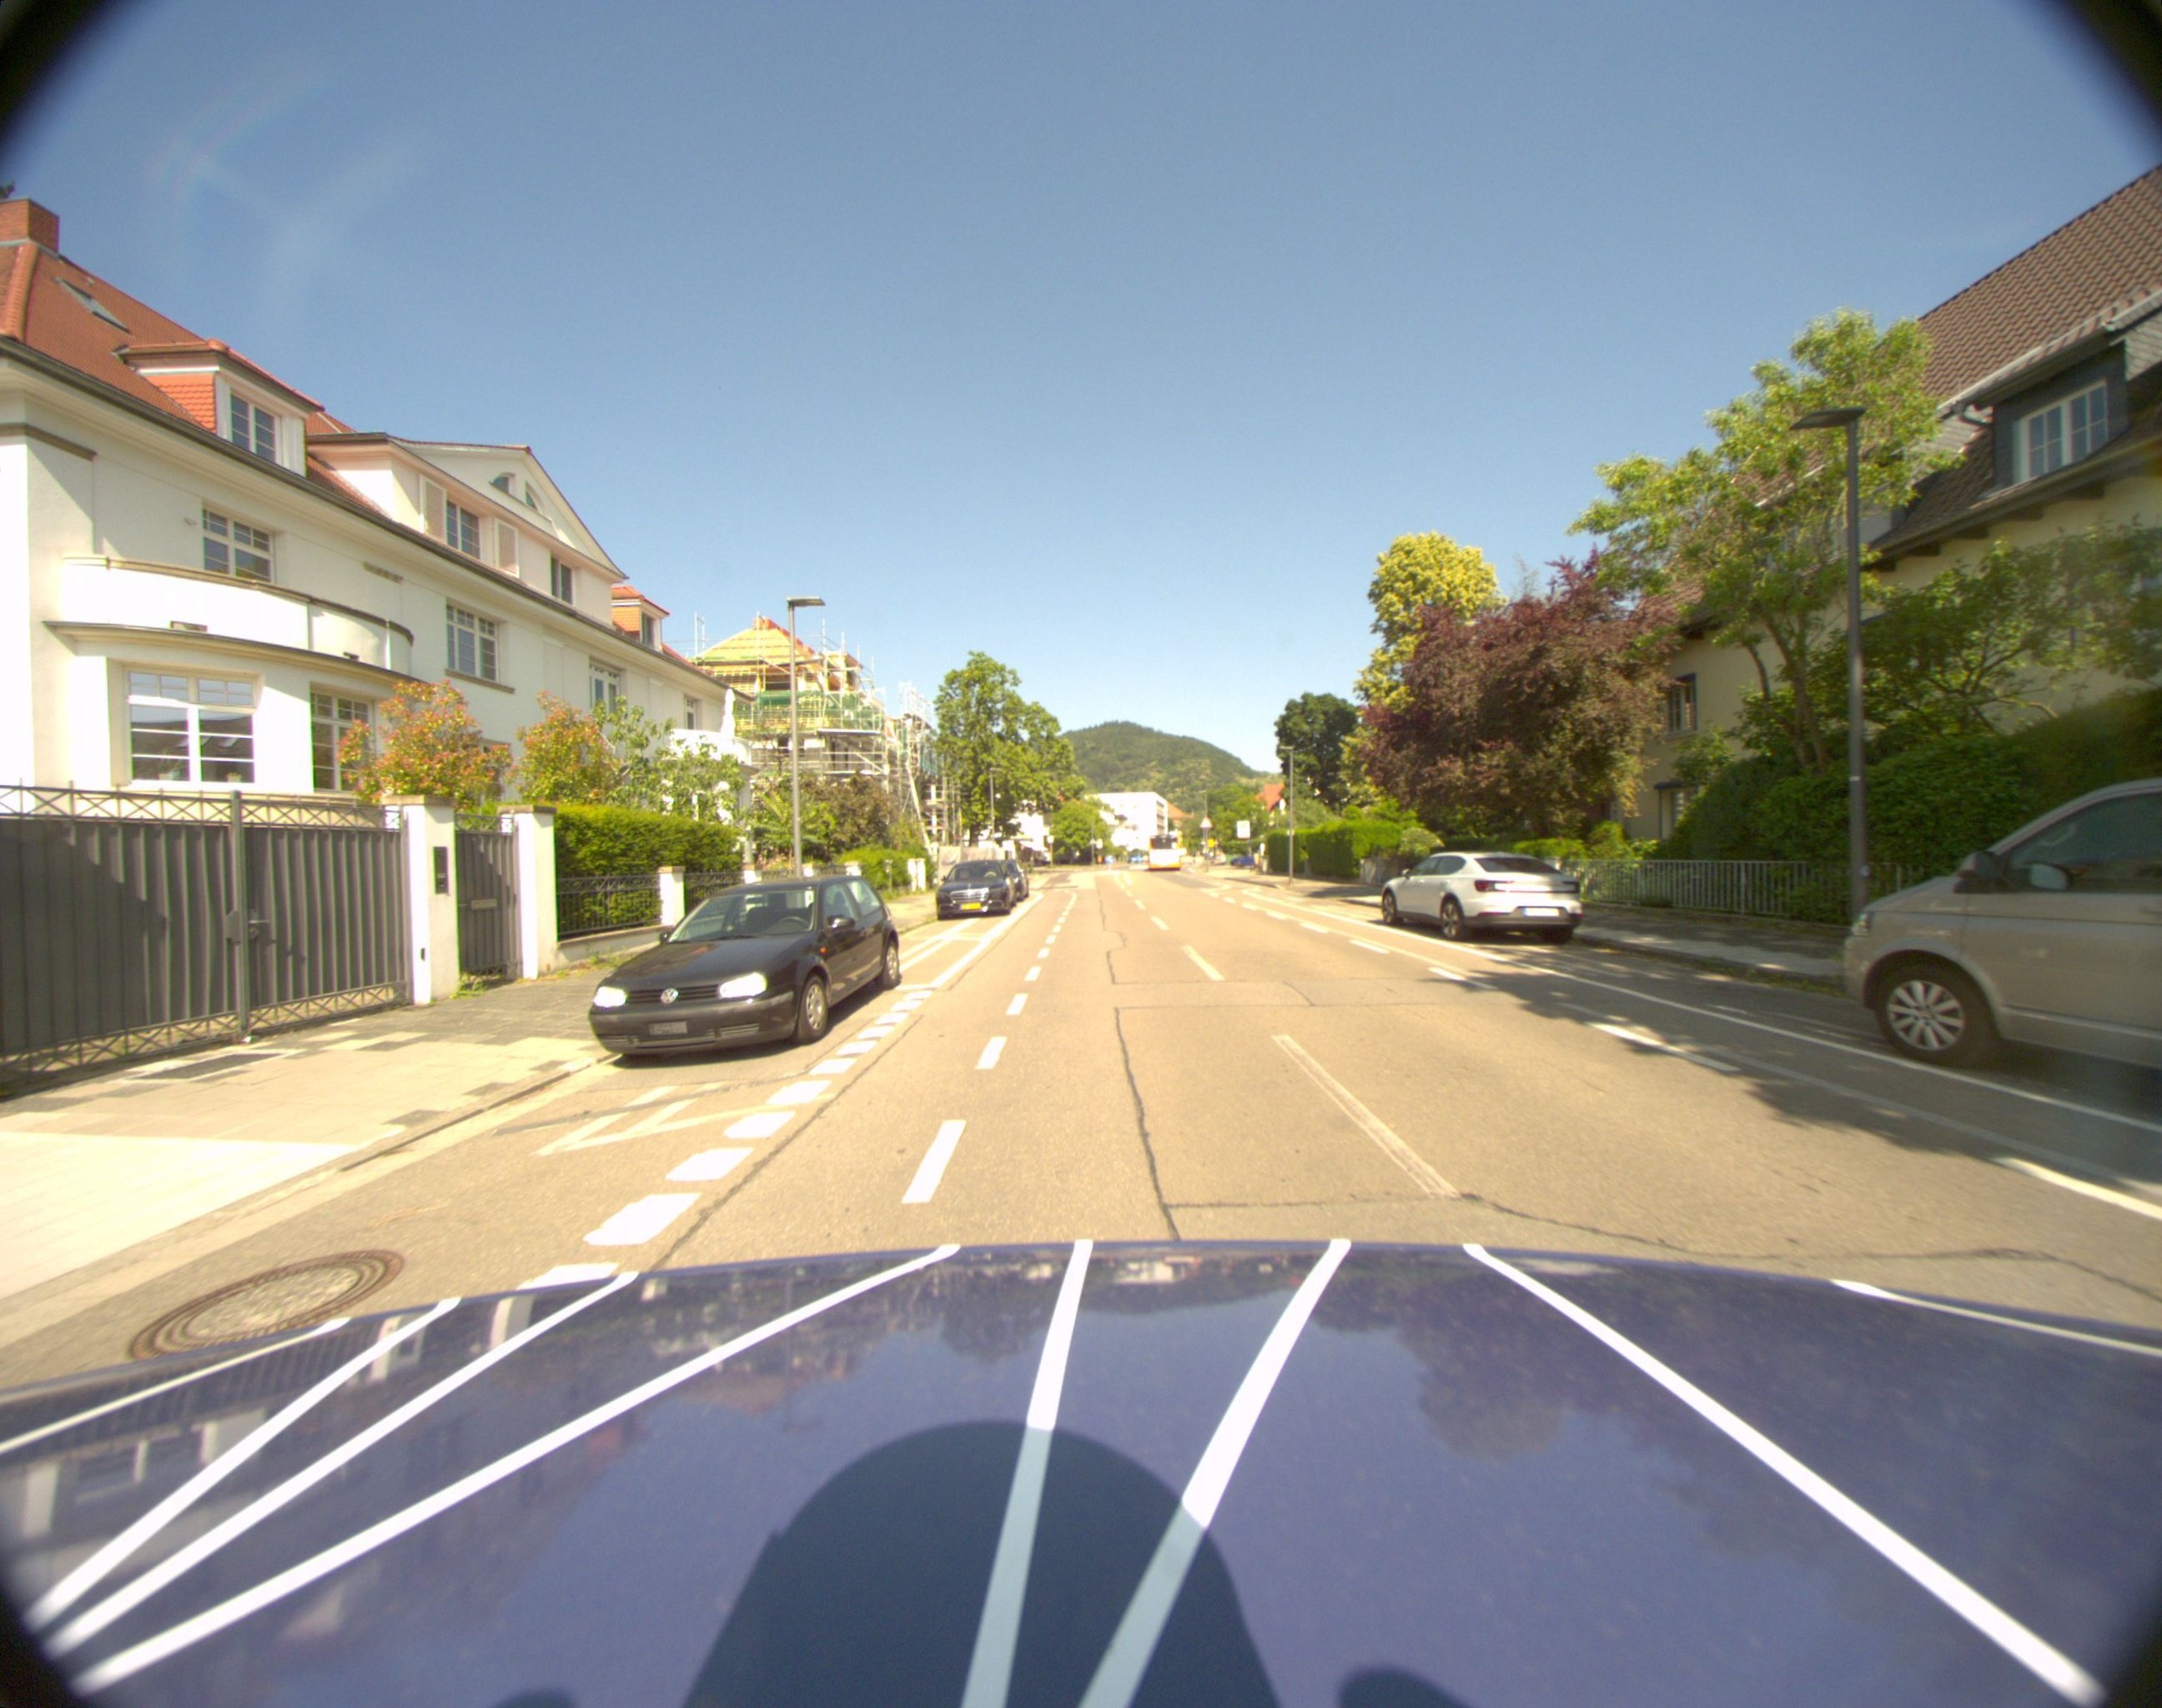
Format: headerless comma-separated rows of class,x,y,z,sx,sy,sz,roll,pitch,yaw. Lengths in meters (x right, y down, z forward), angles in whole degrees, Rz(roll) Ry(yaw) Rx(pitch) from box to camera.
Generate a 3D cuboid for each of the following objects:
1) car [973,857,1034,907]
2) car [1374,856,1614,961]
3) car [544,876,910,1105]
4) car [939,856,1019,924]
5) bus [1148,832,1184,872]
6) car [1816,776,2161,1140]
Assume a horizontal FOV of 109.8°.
car,-2.666,0.925,26.877,1.662,1.467,3.786,-4,0,0
car,6.932,0.808,13.433,1.838,1.477,4.562,0,0,1
car,-3.080,1.078,7.642,1.623,1.441,4.000,-4,1,2
car,-2.789,0.924,21.760,1.701,1.573,4.899,-4,1,-2
bus,7.137,-0.181,65.010,2.751,3.156,9.781,0,0,5
car,6.627,0.570,3.413,1.889,1.909,4.867,1,1,0
